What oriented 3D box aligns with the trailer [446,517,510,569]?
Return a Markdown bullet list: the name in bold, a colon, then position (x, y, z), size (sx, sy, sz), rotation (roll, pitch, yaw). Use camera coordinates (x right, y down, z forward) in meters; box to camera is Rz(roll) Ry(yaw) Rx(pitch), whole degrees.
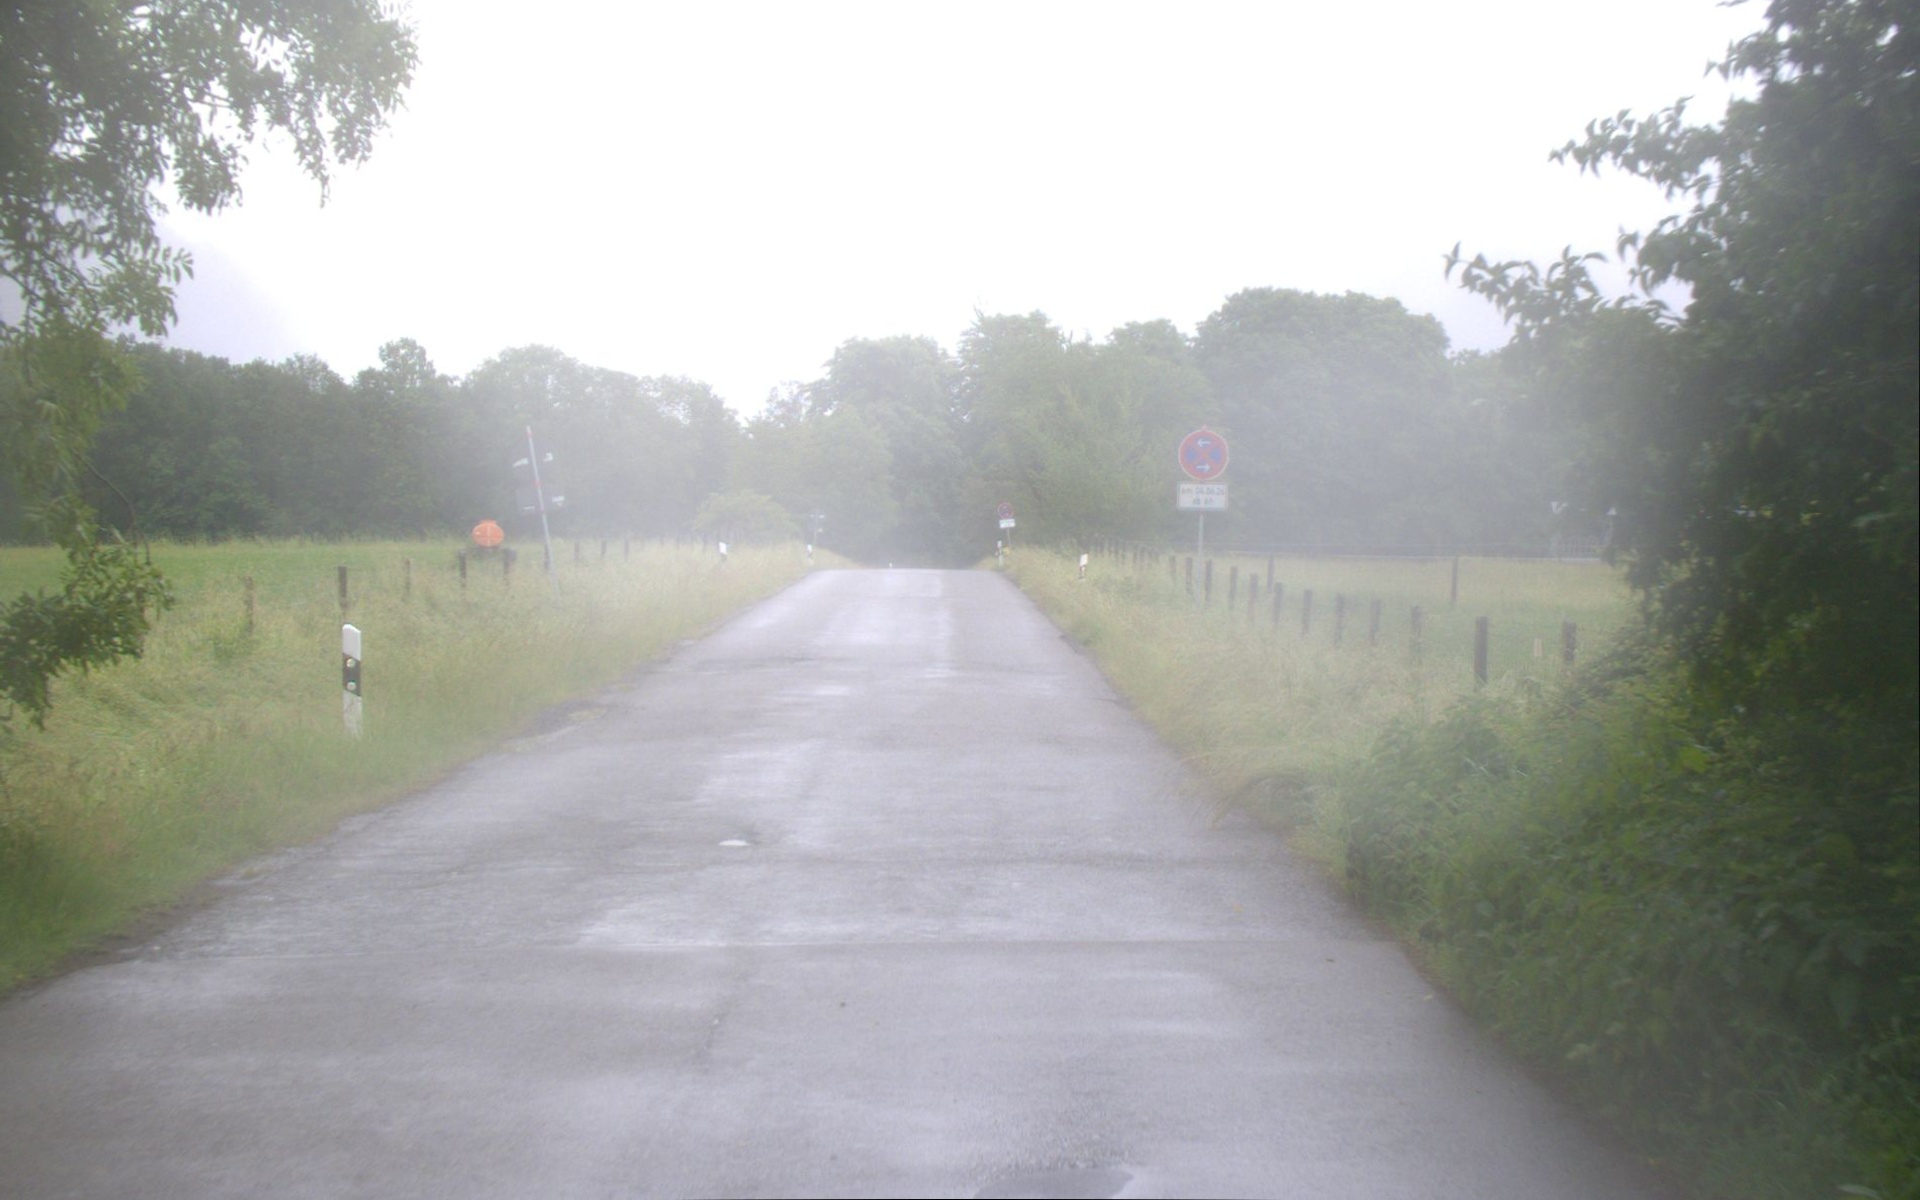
- **trailer**: position (-14.501, -1.724, 103.296), size (1.751, 1.499, 3.091), rotation (0, 1, -11)
